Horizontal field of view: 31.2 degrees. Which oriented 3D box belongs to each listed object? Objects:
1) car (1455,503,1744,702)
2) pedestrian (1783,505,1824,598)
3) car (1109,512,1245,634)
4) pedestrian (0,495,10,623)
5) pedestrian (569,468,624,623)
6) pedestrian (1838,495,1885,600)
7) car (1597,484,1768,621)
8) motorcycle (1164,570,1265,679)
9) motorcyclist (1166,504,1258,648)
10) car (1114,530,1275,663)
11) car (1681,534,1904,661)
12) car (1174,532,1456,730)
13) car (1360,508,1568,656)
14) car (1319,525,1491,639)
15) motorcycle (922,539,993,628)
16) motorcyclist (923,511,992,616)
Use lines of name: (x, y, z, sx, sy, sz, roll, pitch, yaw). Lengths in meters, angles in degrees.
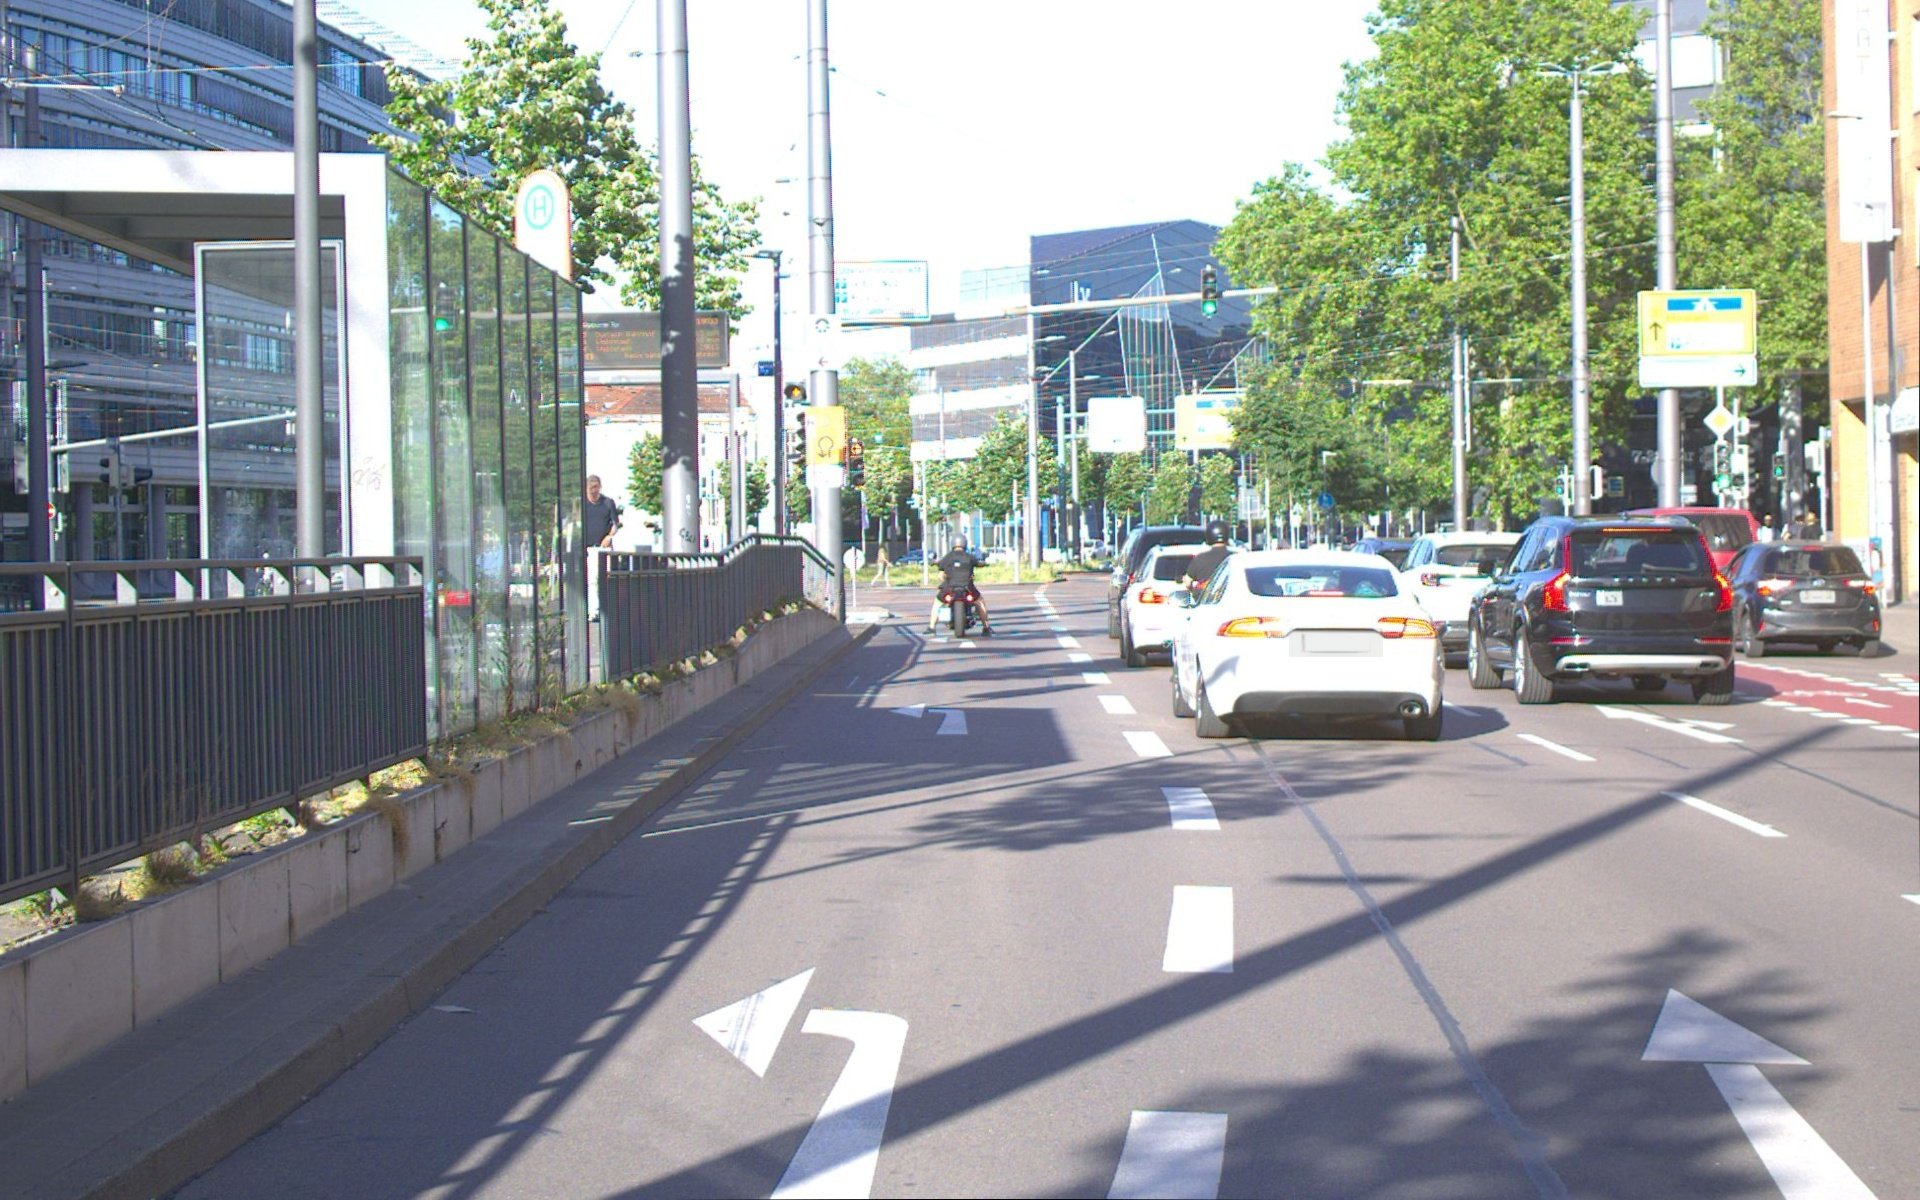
car: (6.068, -0.028, 33.162, 1.975, 1.753, 4.632, 1, 1, 1)
pedestrian: (16.727, -0.960, 68.177, 0.606, 1.815, 0.748, -1, 1, 0)
car: (3.129, -0.418, 50.274, 1.798, 1.699, 4.063, 0, 1, 1)
pedestrian: (-13.937, -0.580, 48.813, 0.614, 1.811, 0.897, 0, 1, 1)
pedestrian: (-3.919, -0.593, 37.104, 0.519, 1.663, 0.550, 0, 1, 1)
pedestrian: (15.707, -0.918, 59.905, 0.606, 1.815, 0.748, -1, 1, 0)
car: (10.927, -0.737, 52.228, 1.860, 1.954, 4.000, -1, 1, 2)
motorcycle: (2.660, 0.241, 36.212, 0.837, 1.058, 2.553, -1, 1, 0)
motorcyclist: (2.641, -0.259, 36.166, 0.837, 1.470, 1.236, -1, 1, 0)
car: (2.780, -0.090, 41.477, 1.693, 1.491, 4.409, 1, 1, 1)
car: (10.847, -0.076, 45.092, 1.846, 1.555, 4.632, 1, 1, 1)
car: (2.742, 0.180, 27.521, 1.780, 1.409, 4.819, 1, 1, 1)
car: (5.914, -0.242, 40.778, 1.851, 1.634, 4.379, -1, 1, 1)
car: (6.114, -0.285, 47.618, 1.851, 1.492, 4.379, 0, 1, 1)
motorcycle: (-0.029, -0.272, 53.149, 1.019, 1.307, 2.914, 1, 1, 1)
motorcyclist: (-0.029, -0.566, 53.224, 1.019, 1.598, 1.148, 1, 1, 1)
